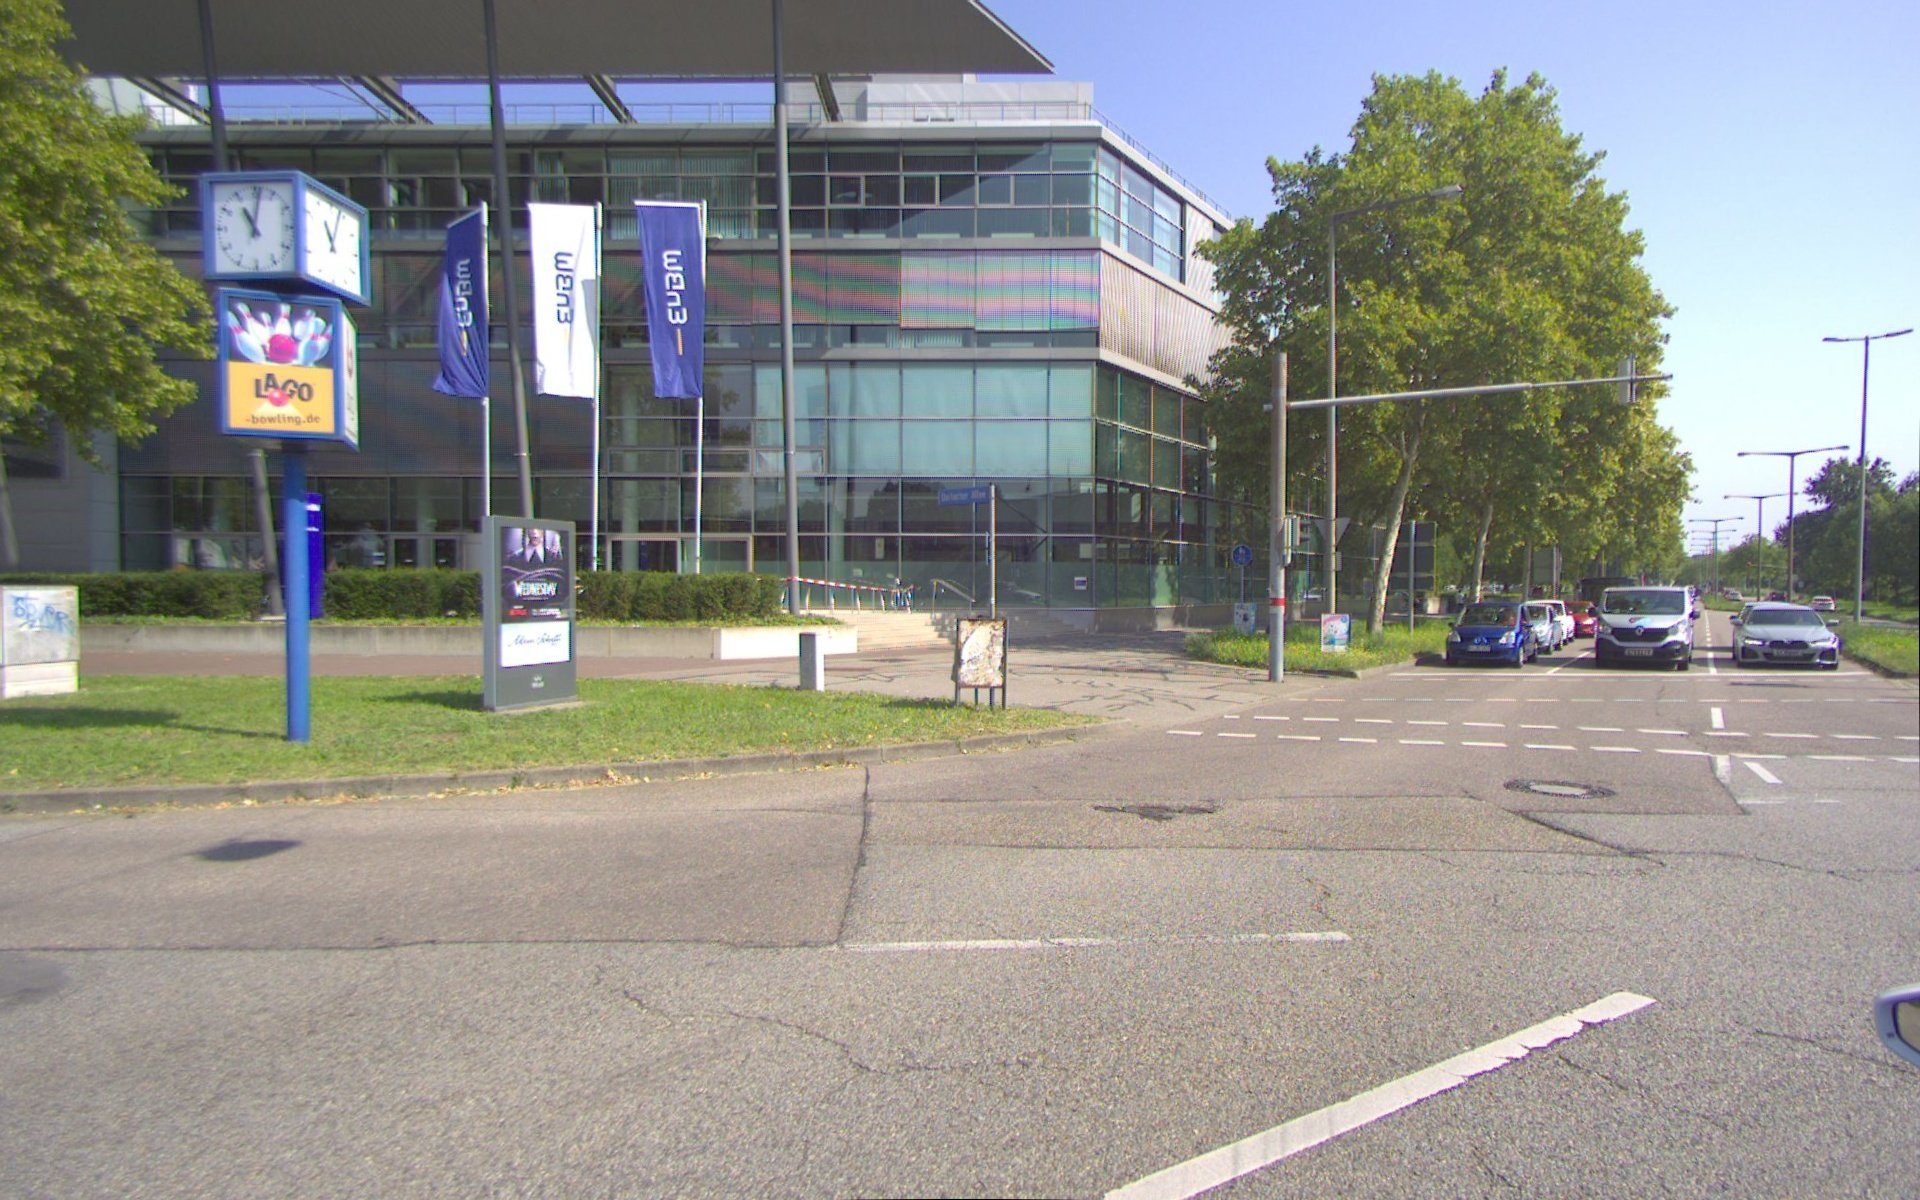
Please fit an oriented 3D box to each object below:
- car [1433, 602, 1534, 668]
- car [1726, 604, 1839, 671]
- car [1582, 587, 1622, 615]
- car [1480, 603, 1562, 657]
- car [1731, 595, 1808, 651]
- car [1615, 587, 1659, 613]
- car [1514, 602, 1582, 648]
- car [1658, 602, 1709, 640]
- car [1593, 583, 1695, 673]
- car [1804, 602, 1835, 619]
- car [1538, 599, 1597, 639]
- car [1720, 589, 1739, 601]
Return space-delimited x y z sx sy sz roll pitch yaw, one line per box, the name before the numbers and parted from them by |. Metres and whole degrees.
car | 13.374 0.838 25.554 1.647 1.555 3.715 -1 -1 38
car | 20.033 0.853 24.623 1.811 1.462 4.590 -1 0 36
car | 37.791 0.071 59.086 1.647 1.555 3.715 -1 -1 38
car | 17.106 0.875 30.549 1.647 1.555 3.715 -1 -1 38
car | 24.288 0.665 30.245 1.593 1.555 4.085 -2 -1 37
car | 53.344 -0.029 79.230 1.896 1.986 5.186 -1 0 23
car | 21.190 0.872 36.134 1.647 1.555 3.715 -1 -1 38
car | 30.971 0.891 42.971 1.647 1.555 3.715 -1 -1 38
car | 17.050 0.581 25.018 1.902 1.984 5.194 1 2 35
car | 84.904 1.025 99.262 1.968 1.676 3.986 0 0 36
car | 24.809 0.754 40.986 1.647 1.555 3.715 -1 -1 38
car | 114.661 -0.776 149.699 1.971 1.724 3.978 0 0 42
